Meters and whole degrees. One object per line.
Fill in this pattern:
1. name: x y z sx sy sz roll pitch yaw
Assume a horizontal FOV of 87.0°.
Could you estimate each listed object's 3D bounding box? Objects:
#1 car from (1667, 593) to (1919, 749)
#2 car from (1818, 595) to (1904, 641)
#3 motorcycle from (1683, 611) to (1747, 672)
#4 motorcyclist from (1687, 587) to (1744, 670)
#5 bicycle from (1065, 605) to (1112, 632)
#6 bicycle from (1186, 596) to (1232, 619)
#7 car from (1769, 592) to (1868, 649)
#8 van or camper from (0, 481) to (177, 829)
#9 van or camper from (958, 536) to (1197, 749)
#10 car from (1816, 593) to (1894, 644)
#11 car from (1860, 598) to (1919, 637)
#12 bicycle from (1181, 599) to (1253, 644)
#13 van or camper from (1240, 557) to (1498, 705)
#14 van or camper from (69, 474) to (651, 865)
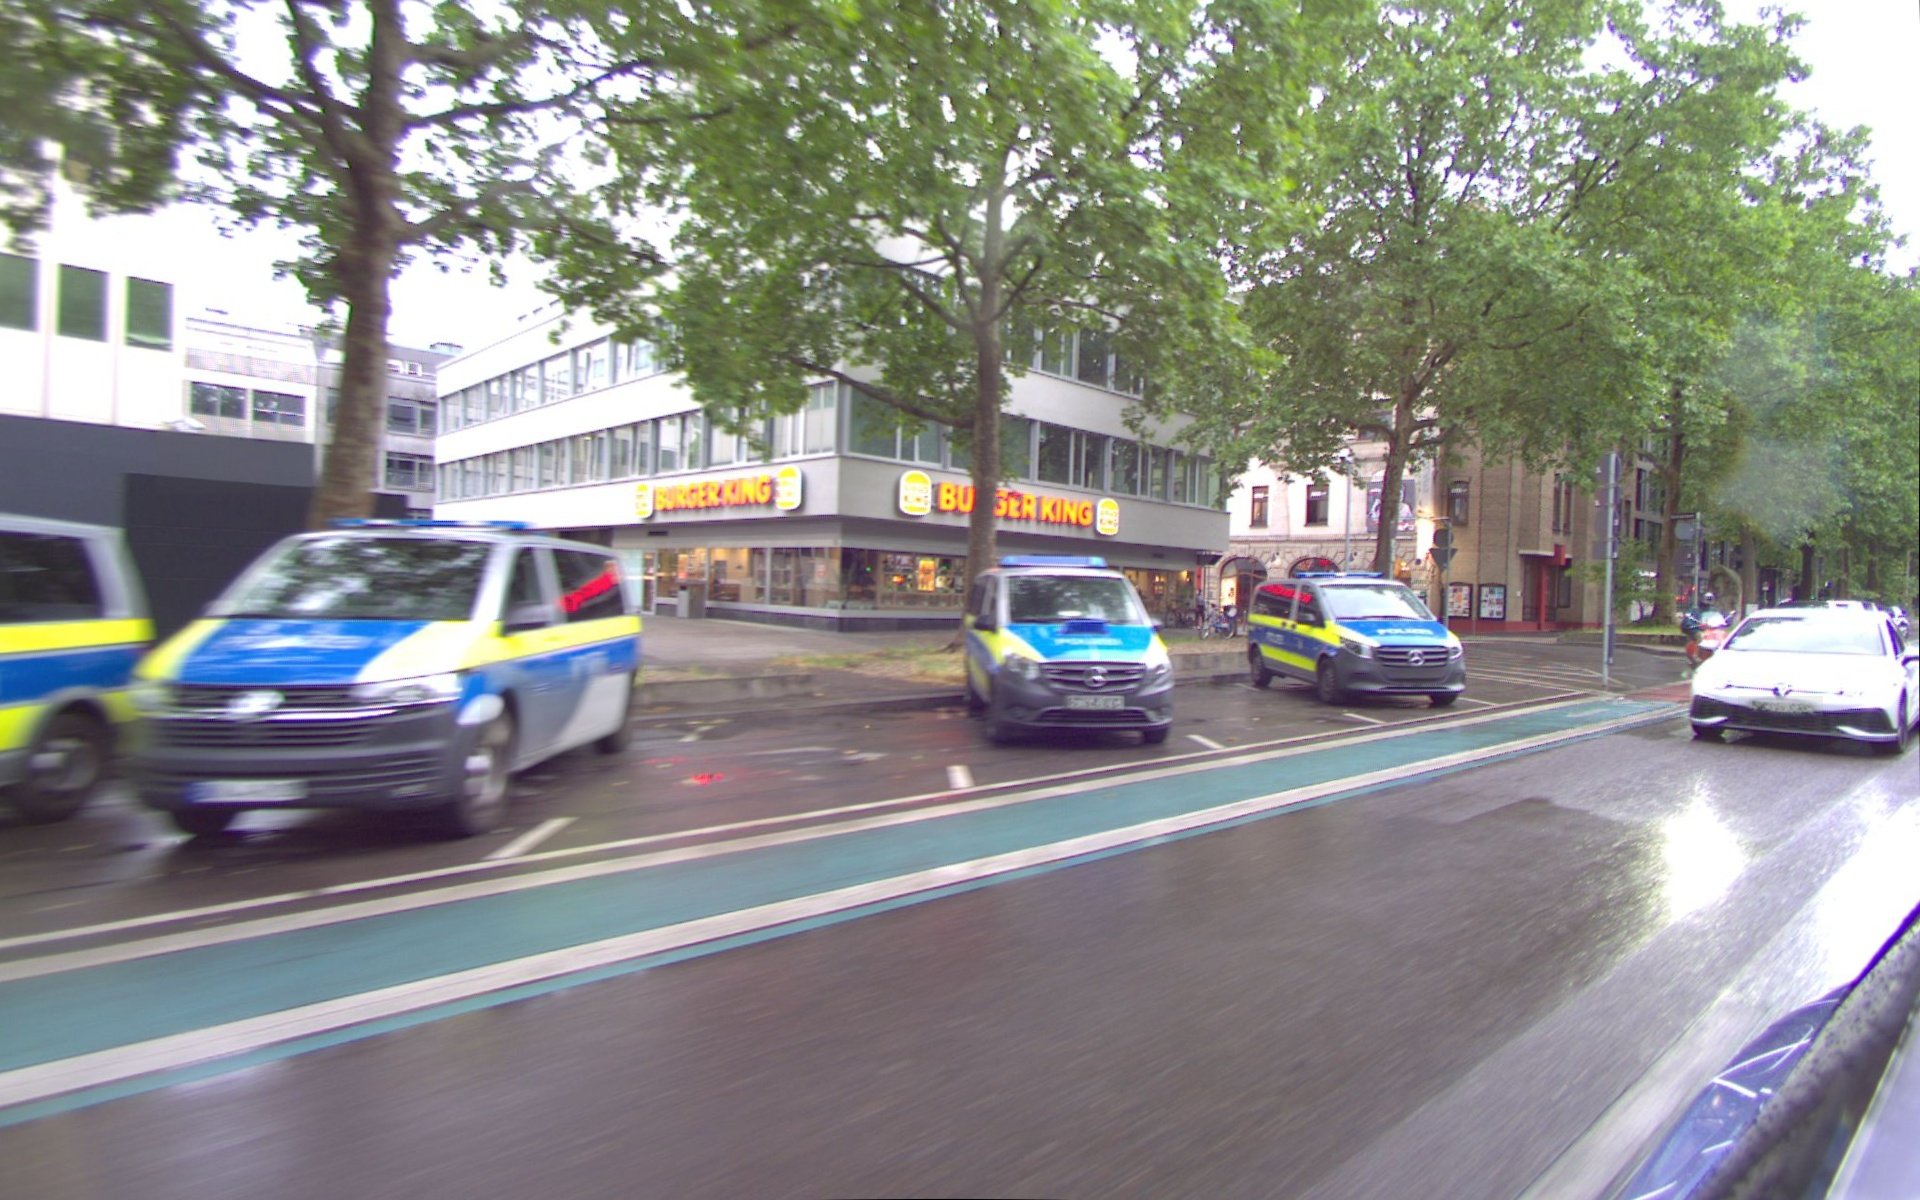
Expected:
1. car: 10.089 0.670 11.611 4.423 1.463 1.867 0 0 -35
2. car: 33.636 0.613 37.737 4.483 1.609 1.996 0 0 -43
3. motorcycle: 15.642 0.828 21.003 0.862 1.157 1.999 1 0 31
4. motorcyclist: 15.618 0.564 20.947 0.842 1.665 0.862 1 0 31
5. bicycle: 4.349 0.611 34.124 0.640 0.829 1.885 1 1 41
6. bicycle: 10.685 0.331 43.436 0.613 0.949 1.972 0 0 -36
7. car: 26.555 0.585 31.257 4.348 1.623 1.795 0 0 -42
8. van or camper: -6.511 0.333 4.934 1.960 2.036 4.799 0 1 -4
9. van or camper: 1.130 0.408 12.287 1.957 2.045 5.092 0 0 -4
10. car: 30.332 0.581 34.261 1.752 1.605 4.339 0 0 45
11. car: 38.203 0.670 41.214 4.505 1.451 1.746 0 0 -41
12. bicycle: 7.601 0.646 29.933 1.875 0.924 0.651 7 30 -32
13. van or camper: 6.287 0.409 16.333 1.963 2.017 4.950 0 0 -3
14. van or camper: -3.865 0.334 7.718 1.831 2.023 4.859 0 1 -4
